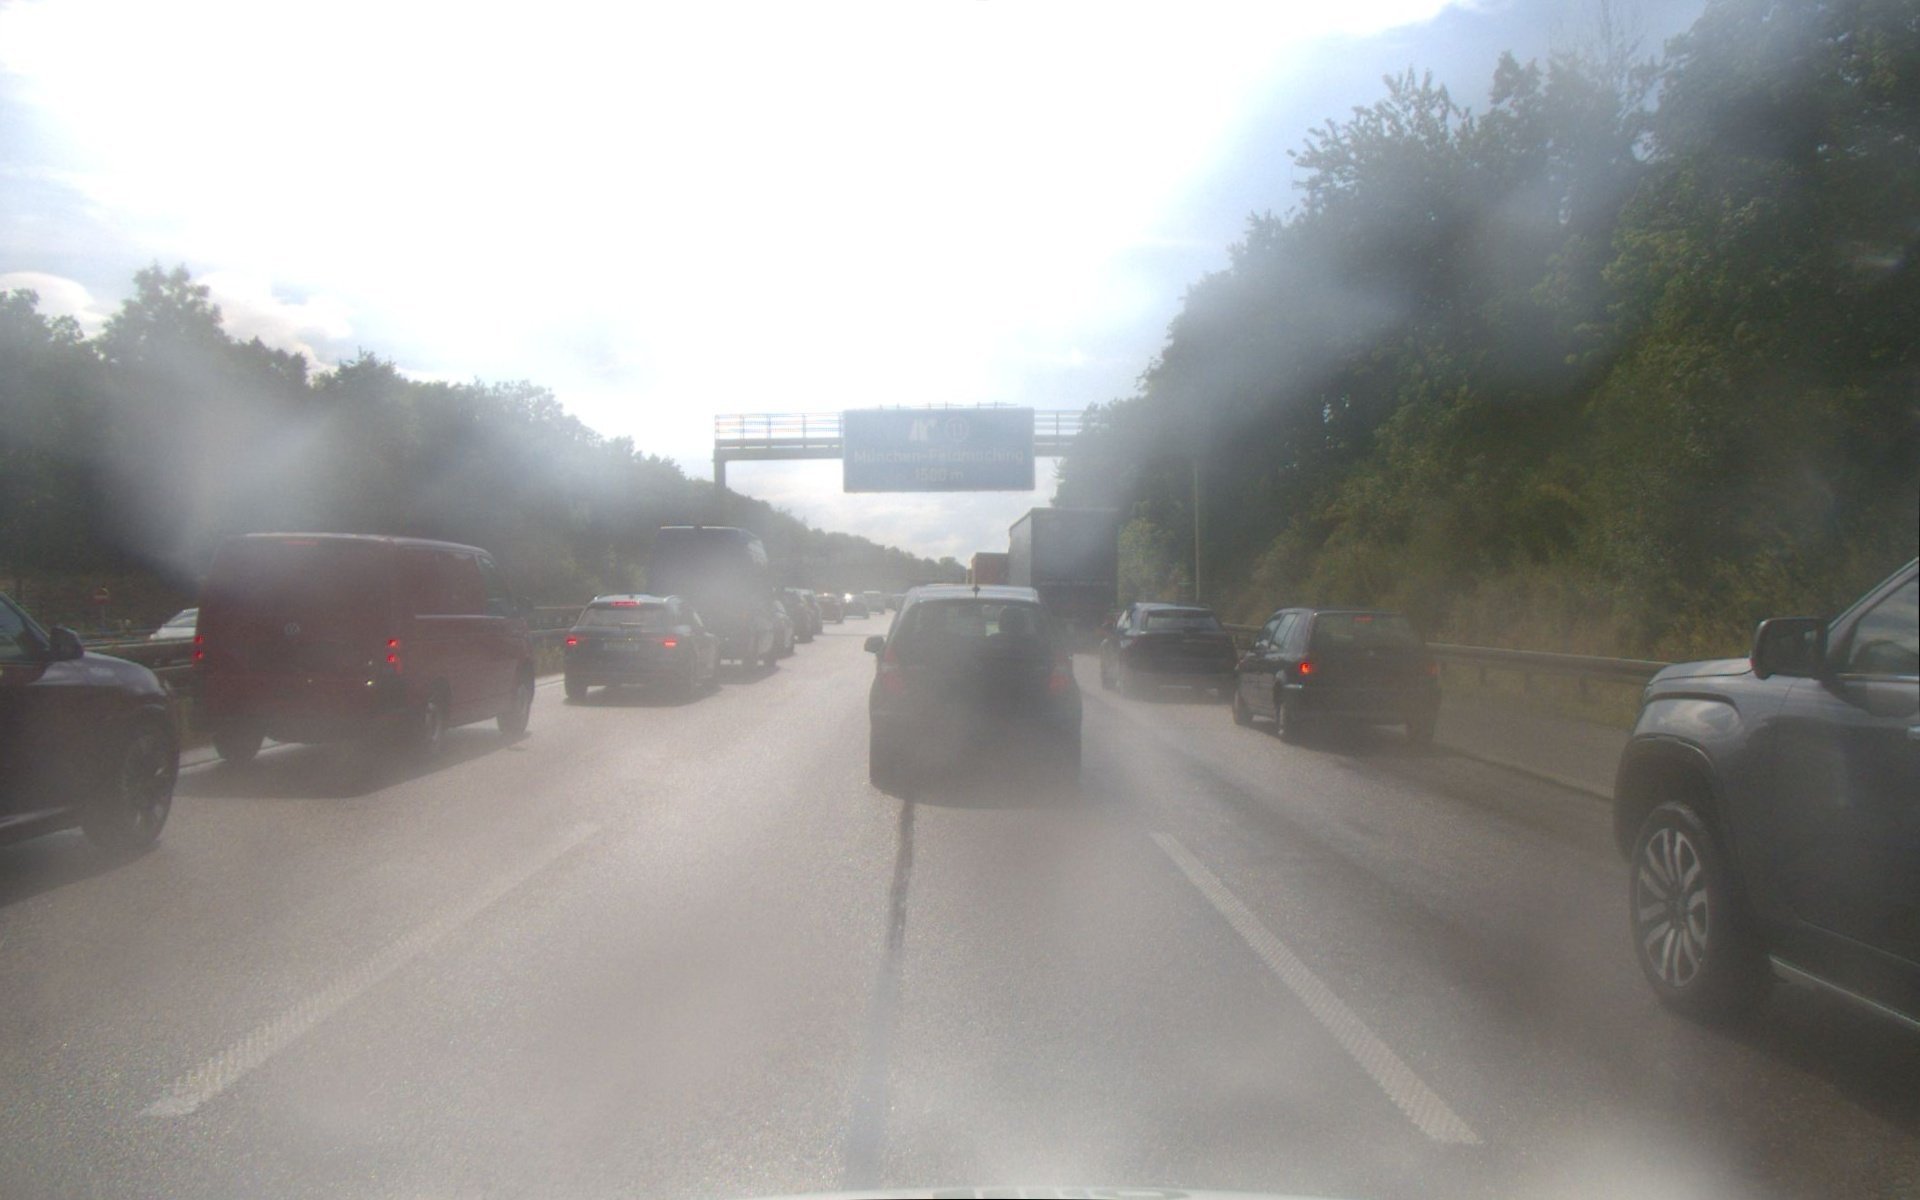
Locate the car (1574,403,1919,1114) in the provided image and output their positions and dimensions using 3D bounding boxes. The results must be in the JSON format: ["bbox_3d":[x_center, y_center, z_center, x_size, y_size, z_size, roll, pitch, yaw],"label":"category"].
[{"bbox_3d":[3.605,0.445,4.110,1.902,1.952,5.650,1,0,-2],"label":"car"}]

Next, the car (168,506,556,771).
[{"bbox_3d":[-5.367,0.318,15.622,1.938,2.090,4.755,1,0,-1],"label":"car"}]

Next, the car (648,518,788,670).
[{"bbox_3d":[-4.583,-0.094,32.057,1.953,2.661,5.258,1,0,-1],"label":"car"}]

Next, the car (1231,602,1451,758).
[{"bbox_3d":[4.162,0.818,18.632,1.558,1.542,3.976,1,0,0],"label":"car"}]

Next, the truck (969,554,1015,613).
[{"bbox_3d":[2.047,-1.033,107.120,2.719,3.695,5.915,1,0,-1],"label":"truck"}]

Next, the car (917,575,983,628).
[{"bbox_3d":[-0.348,0.047,50.963,1.828,1.542,3.973,1,0,-3],"label":"car"}]

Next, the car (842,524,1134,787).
[{"bbox_3d":[0.117,0.443,15.170,2.229,1.989,4.818,1,0,-3],"label":"car"}]

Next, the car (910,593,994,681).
[{"bbox_3d":[-0.230,0.798,37.059,1.659,1.836,3.973,1,0,-3],"label":"car"}]

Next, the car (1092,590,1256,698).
[{"bbox_3d":[3.270,0.647,25.980,1.828,1.542,3.973,1,0,-3],"label":"car"}]

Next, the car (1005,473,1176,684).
[{"bbox_3d":[3.963,-0.564,55.583,4.314,5.932,16.816,1,0,0],"label":"car"}]

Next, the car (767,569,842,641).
[{"bbox_3d":[-4.872,0.171,52.417,1.953,2.152,4.888,1,0,-1],"label":"car"}]

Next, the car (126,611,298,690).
[{"bbox_3d":[-18.501,1.192,41.195,2.010,1.806,5.207,1,0,-2],"label":"car"}]

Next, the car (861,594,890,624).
[{"bbox_3d":[-6.285,0.693,123.436,1.953,2.152,4.888,1,0,-1],"label":"car"}]

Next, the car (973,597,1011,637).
[{"bbox_3d":[1.785,0.942,93.341,1.953,2.152,4.888,1,0,-1],"label":"car"}]

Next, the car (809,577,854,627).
[{"bbox_3d":[-6.555,0.111,84.887,1.953,2.427,5.258,1,0,-1],"label":"car"}]

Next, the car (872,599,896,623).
[{"bbox_3d":[-6.871,1.002,149.845,1.953,2.152,4.888,1,0,-1],"label":"car"}]

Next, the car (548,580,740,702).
[{"bbox_3d":[-4.538,0.561,24.505,1.953,1.592,4.755,1,0,-1],"label":"car"}]

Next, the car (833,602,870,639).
[{"bbox_3d":[-6.655,1.243,101.714,1.953,2.152,4.888,1,0,-1],"label":"car"}]

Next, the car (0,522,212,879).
[{"bbox_3d":[-5.422,0.481,7.744,1.870,1.665,4.614,-1,0,-2],"label":"car"}]

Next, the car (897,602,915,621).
[{"bbox_3d":[-6.203,1.359,190.708,1.953,2.152,4.888,1,0,-1],"label":"car"}]

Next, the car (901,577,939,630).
[{"bbox_3d":[-2.187,0.216,91.147,1.953,2.794,5.258,1,0,-1],"label":"car"}]

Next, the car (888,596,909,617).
[{"bbox_3d":[-6.389,0.673,172.003,1.953,2.152,4.888,1,0,-1],"label":"car"}]

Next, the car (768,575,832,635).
[{"bbox_3d":[-6.022,0.205,62.684,1.953,2.152,4.888,1,0,-1],"label":"car"}]
